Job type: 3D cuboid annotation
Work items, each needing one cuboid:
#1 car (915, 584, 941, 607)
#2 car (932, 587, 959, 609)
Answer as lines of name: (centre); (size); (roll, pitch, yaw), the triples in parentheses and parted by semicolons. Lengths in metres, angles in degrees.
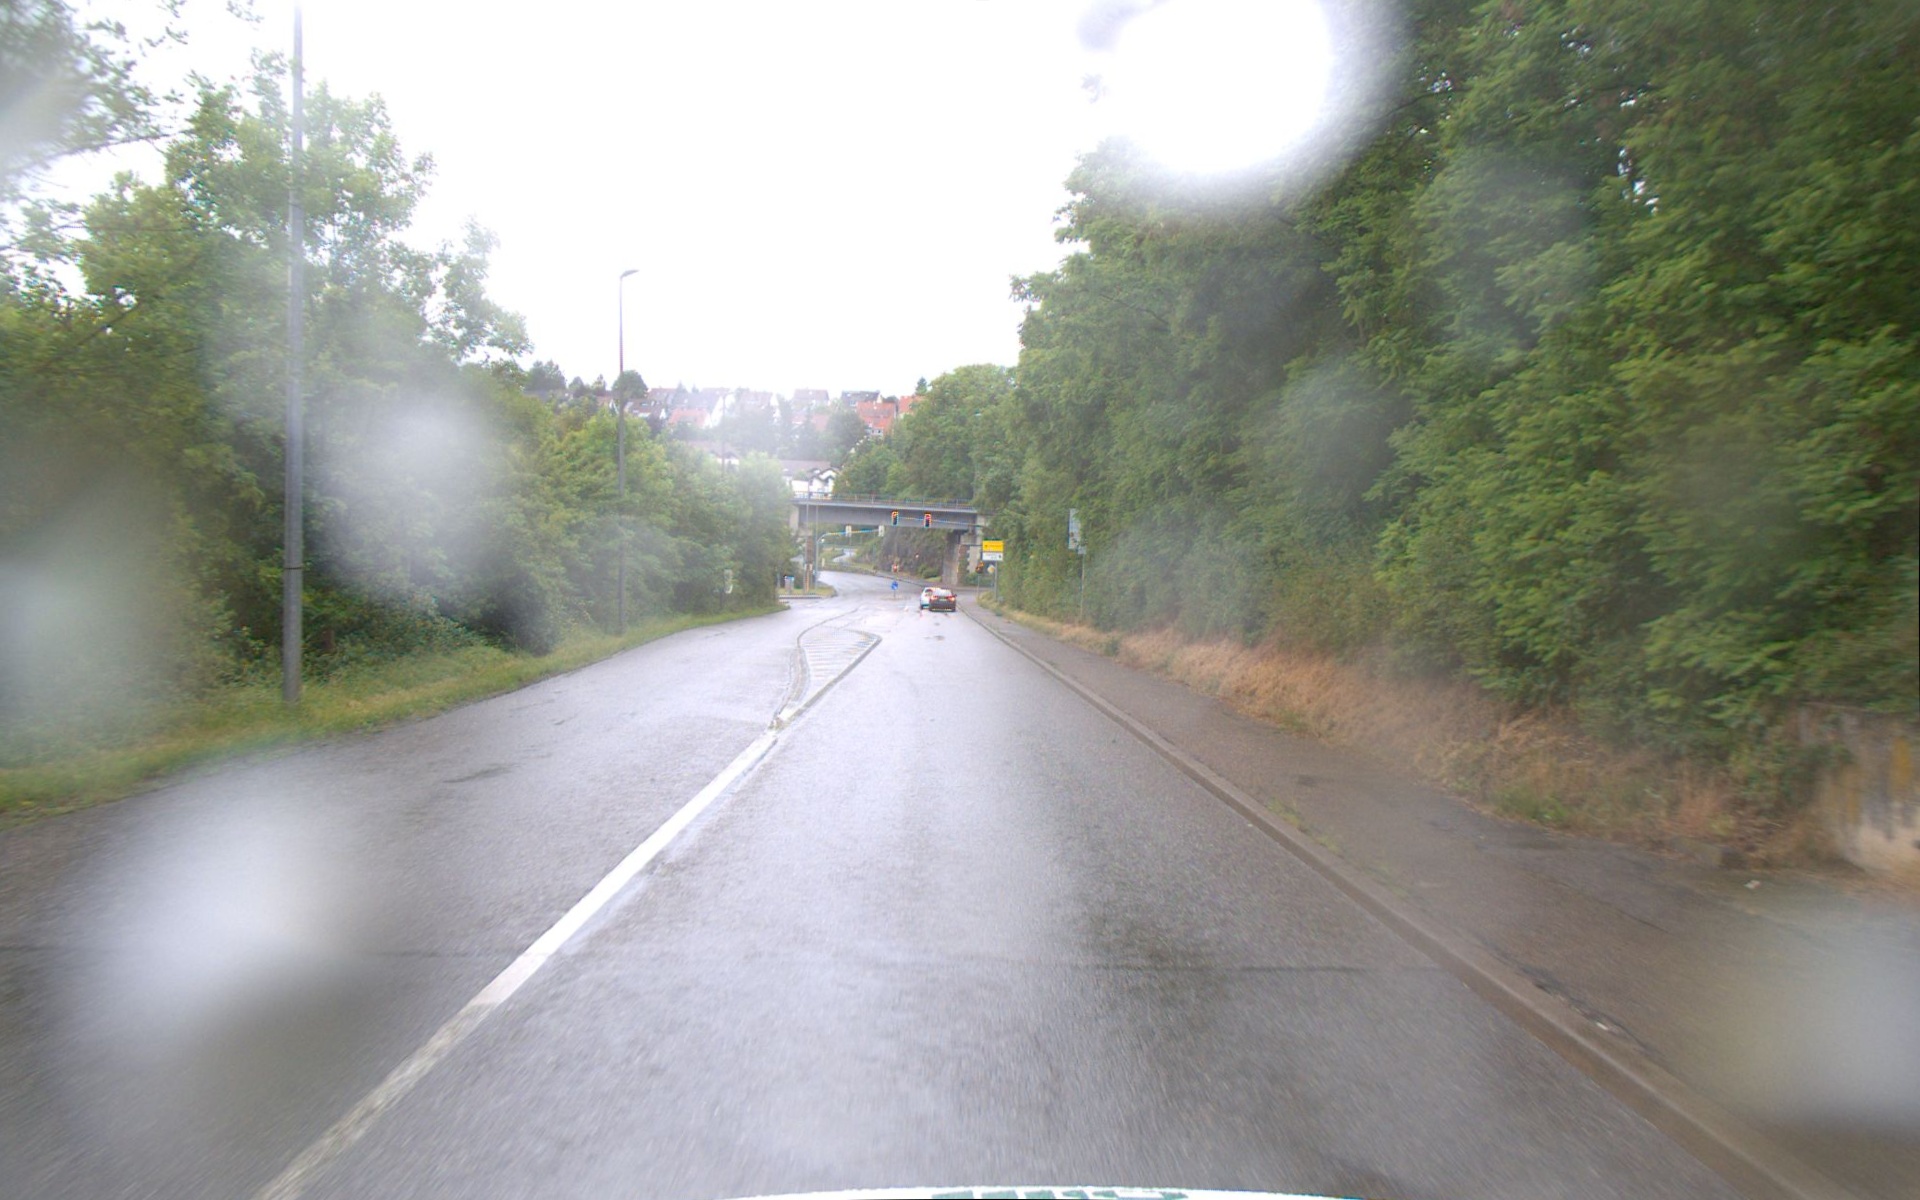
car: (-2.207, -0.328, 115.324); (1.732, 1.590, 4.000); (0, 0, 0)
car: (-0.964, -0.113, 108.659); (1.732, 1.404, 4.000); (0, 0, 0)
